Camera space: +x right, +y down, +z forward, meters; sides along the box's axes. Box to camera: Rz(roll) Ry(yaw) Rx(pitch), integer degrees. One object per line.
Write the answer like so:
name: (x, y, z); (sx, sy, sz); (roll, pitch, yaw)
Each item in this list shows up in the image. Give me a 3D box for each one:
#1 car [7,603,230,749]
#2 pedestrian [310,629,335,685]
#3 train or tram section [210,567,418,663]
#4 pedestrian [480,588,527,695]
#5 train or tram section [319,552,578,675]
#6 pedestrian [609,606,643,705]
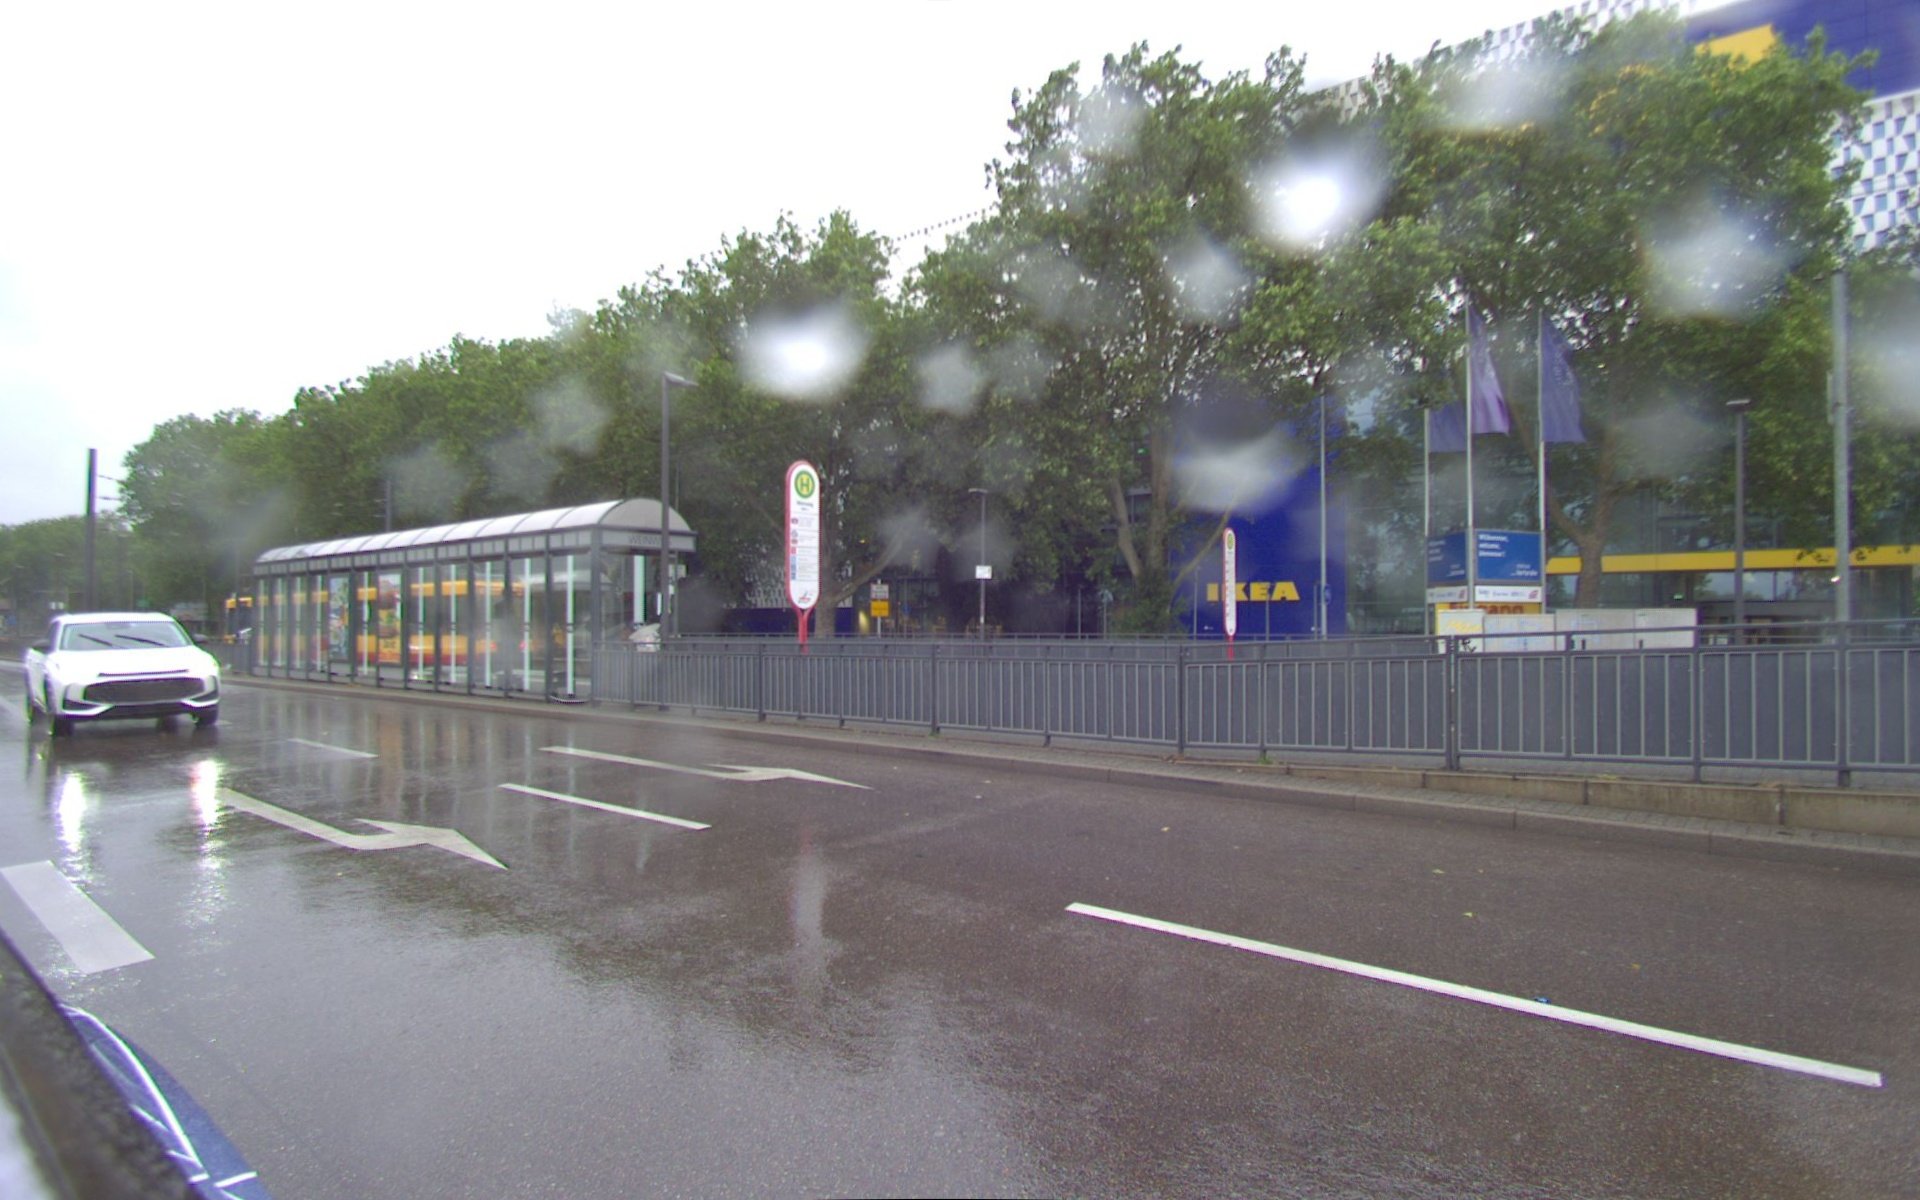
car: (-12.485, 0.983, 14.898); (4.663, 1.788, 1.909); (-1, 0, 43)
pedestrian: (-14.623, 1.291, 23.207); (0.451, 1.245, 0.468); (0, 0, -35)
train or tram section: (-30.313, 0.687, 46.895); (15.560, 3.827, 3.703); (-1, 0, 40)
pedestrian: (-8.329, 0.739, 18.451); (0.646, 1.885, 0.774); (-1, 0, -33)
train or tram section: (-19.333, 0.487, 37.509); (13.245, 3.868, 3.703); (-1, 0, 40)
pedestrian: (-5.177, 0.848, 15.666); (0.317, 1.504, 0.416); (-2, 1, -44)
